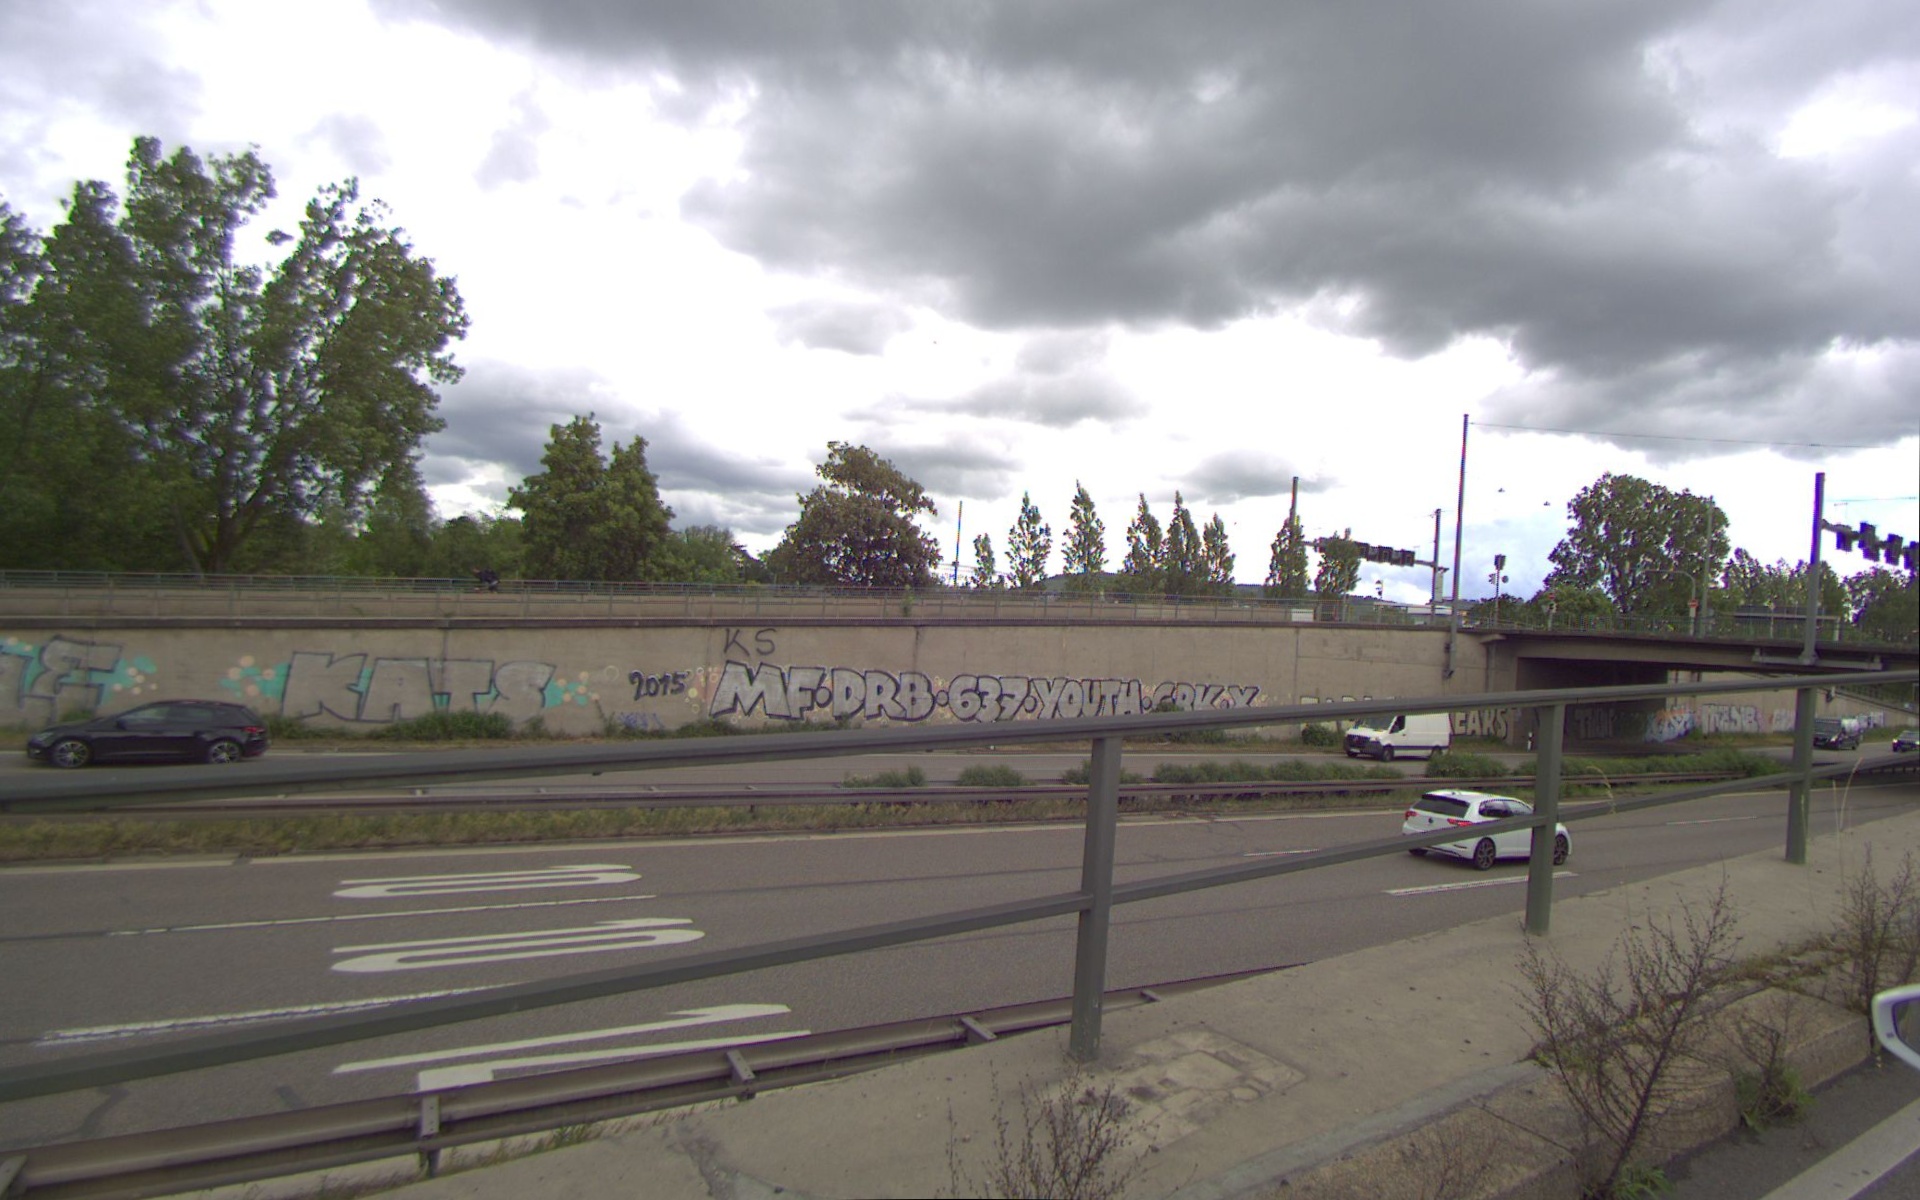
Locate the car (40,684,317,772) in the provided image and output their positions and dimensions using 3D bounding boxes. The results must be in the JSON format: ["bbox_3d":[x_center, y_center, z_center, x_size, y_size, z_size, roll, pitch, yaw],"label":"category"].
[{"bbox_3d":[-17.591,2.925,22.977,4.652,1.714,1.983,5,-3,-31],"label":"car"}]

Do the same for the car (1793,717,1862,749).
[{"bbox_3d":[67.867,10.410,78.556,6.114,2.183,2.279,6,-3,-31],"label":"car"}]

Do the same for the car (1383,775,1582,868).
[{"bbox_3d":[11.254,4.681,21.609,3.951,1.519,1.847,5,-2,-28],"label":"car"}]

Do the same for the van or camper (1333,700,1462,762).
[{"bbox_3d":[20.181,6.027,46.180,6.280,2.488,2.170,5,-2,-32],"label":"van or camper"}]
